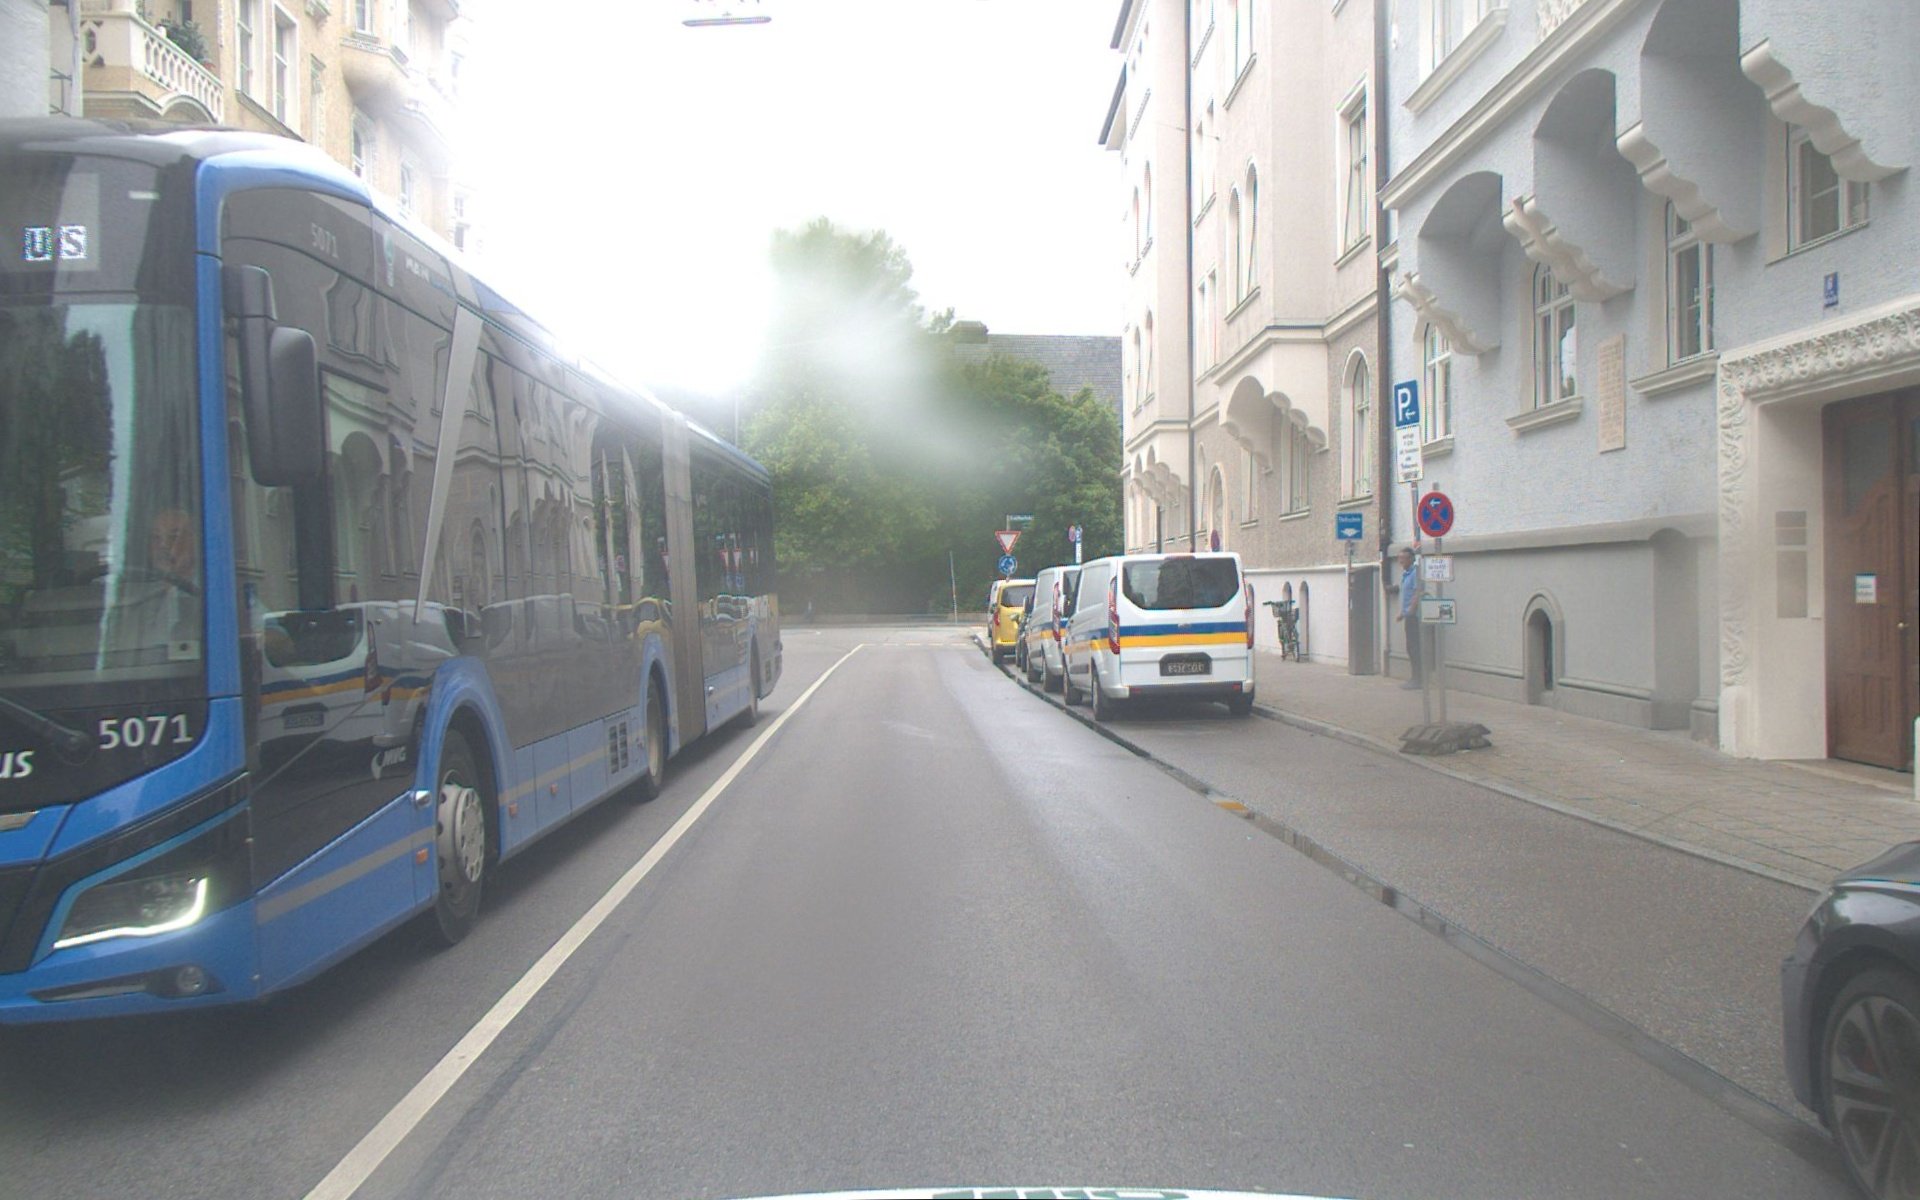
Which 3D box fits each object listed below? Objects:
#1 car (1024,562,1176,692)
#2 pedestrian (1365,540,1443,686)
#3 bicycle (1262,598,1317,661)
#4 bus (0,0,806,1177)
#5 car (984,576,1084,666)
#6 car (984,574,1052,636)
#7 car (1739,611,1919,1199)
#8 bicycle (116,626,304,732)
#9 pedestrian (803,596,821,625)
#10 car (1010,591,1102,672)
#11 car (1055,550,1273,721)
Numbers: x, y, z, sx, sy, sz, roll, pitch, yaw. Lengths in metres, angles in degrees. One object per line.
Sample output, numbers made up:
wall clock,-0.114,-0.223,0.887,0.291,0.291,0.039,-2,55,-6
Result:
car,2.235,0.409,27.703,1.953,1.952,4.884,-1,0,-2
pedestrian,6.015,0.173,22.439,0.834,1.936,0.746,-1,0,1
bicycle,6.228,0.540,31.359,0.652,1.153,1.722,-1,0,-1
bus,-3.617,-0.058,13.461,3.107,3.268,18.055,-2,0,-1
car,1.663,0.452,38.637,1.953,1.952,4.569,-1,0,-2
car,1.961,0.149,57.312,1.899,1.955,5.372,-2,0,-2
car,3.206,0.745,2.686,1.752,1.432,4.243,-1,0,-2
bicycle,-8.738,0.913,19.320,1.822,1.096,0.690,3,0,-1
pedestrian,-7.129,0.505,79.740,0.753,1.380,1.131,-1,0,0
car,1.905,0.605,33.826,1.600,1.540,3.884,-1,0,-1
car,2.526,0.403,21.707,1.954,1.952,4.874,-1,0,-4
